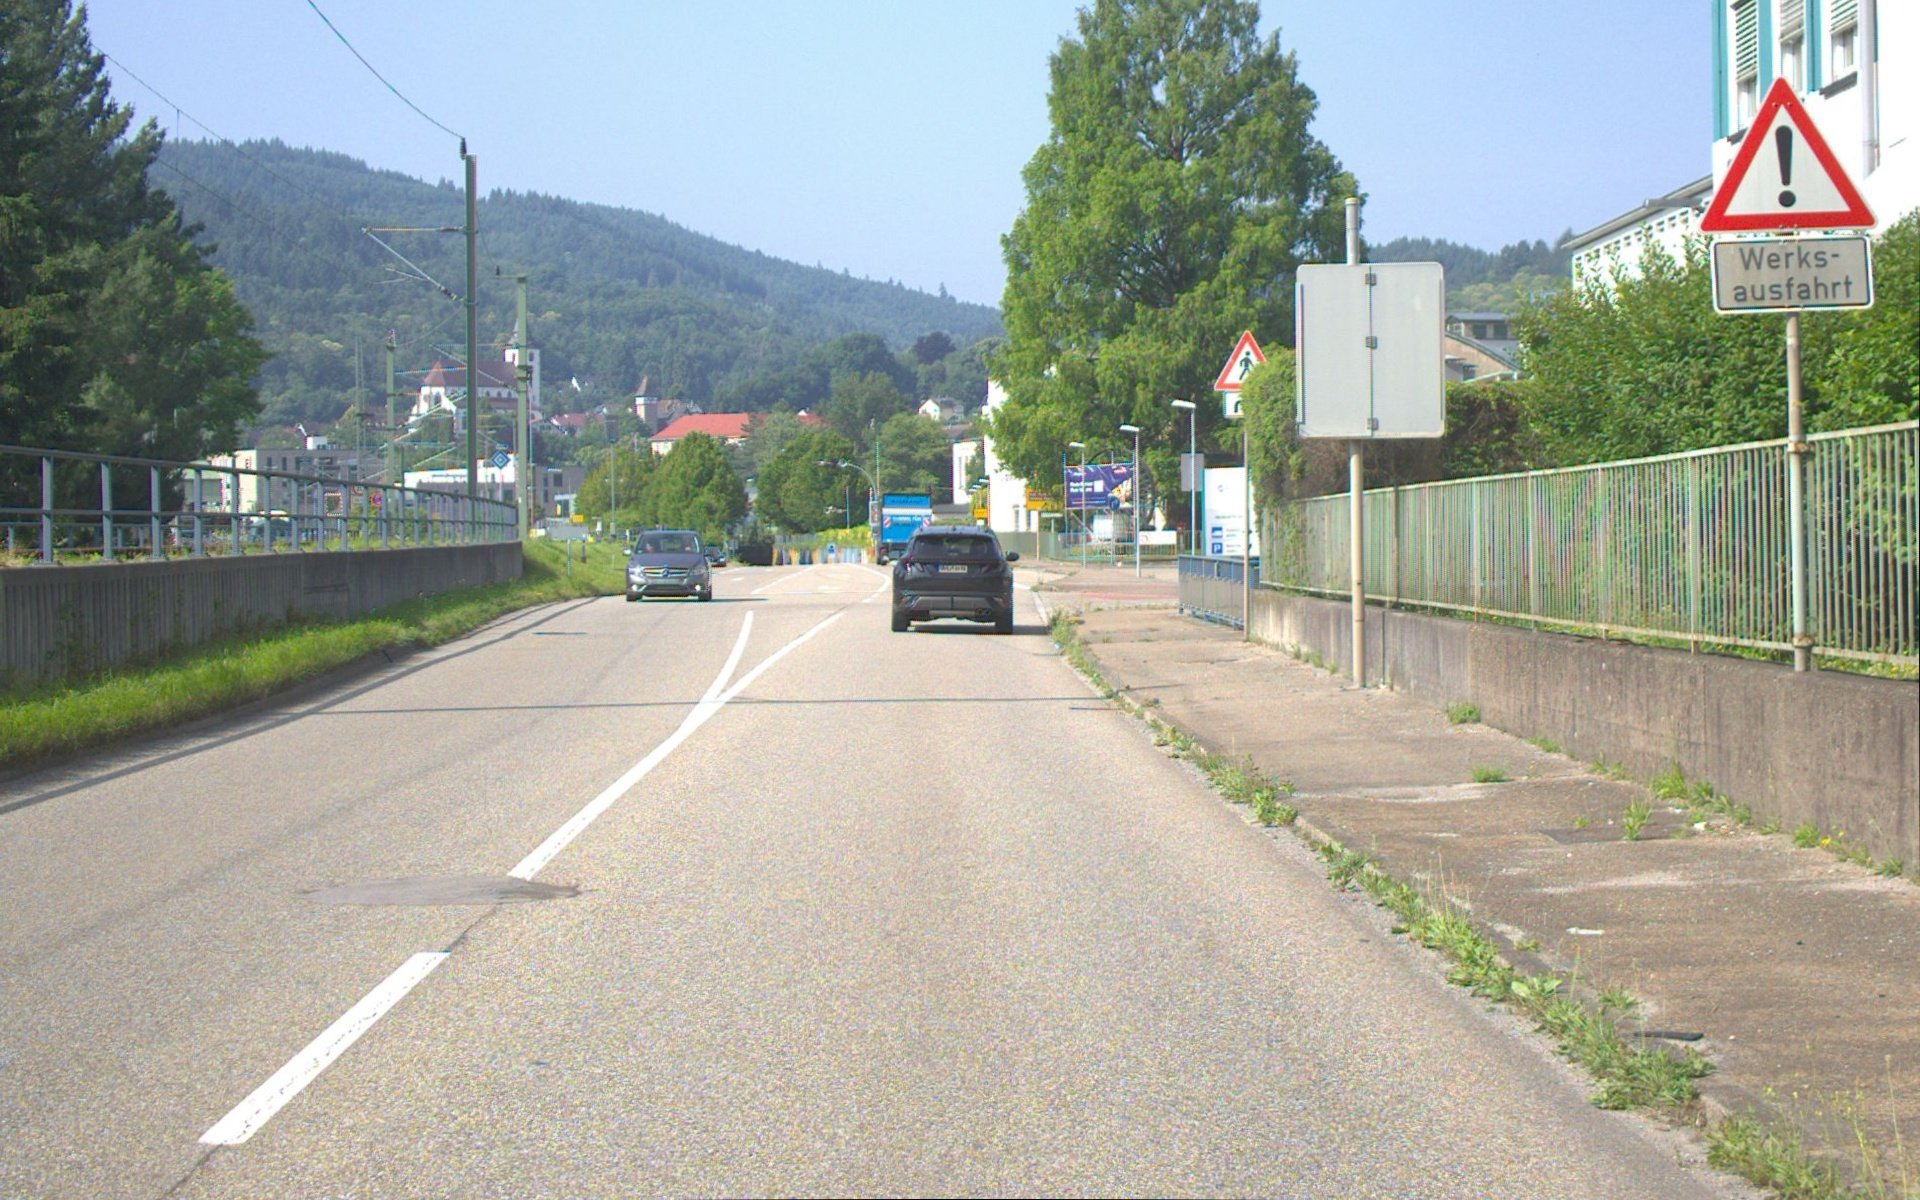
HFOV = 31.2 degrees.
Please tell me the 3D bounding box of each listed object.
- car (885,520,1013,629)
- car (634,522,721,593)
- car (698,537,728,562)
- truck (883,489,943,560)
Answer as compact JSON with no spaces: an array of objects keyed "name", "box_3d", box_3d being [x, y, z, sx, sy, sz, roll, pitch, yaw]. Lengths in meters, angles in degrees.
[{"name":"car","box_3d":[-0.137,-0.420,54.067,1.919,1.634,4.000,0,1,1]},{"name":"car","box_3d":[-6.146,-0.935,75.077,1.741,1.502,4.200,0,1,-2]},{"name":"car","box_3d":[-14.852,-3.051,206.946,1.755,1.424,4.001,0,1,-3]},{"name":"truck","box_3d":[-2.035,-3.218,146.971,2.312,2.960,5.967,-1,1,-3]}]
